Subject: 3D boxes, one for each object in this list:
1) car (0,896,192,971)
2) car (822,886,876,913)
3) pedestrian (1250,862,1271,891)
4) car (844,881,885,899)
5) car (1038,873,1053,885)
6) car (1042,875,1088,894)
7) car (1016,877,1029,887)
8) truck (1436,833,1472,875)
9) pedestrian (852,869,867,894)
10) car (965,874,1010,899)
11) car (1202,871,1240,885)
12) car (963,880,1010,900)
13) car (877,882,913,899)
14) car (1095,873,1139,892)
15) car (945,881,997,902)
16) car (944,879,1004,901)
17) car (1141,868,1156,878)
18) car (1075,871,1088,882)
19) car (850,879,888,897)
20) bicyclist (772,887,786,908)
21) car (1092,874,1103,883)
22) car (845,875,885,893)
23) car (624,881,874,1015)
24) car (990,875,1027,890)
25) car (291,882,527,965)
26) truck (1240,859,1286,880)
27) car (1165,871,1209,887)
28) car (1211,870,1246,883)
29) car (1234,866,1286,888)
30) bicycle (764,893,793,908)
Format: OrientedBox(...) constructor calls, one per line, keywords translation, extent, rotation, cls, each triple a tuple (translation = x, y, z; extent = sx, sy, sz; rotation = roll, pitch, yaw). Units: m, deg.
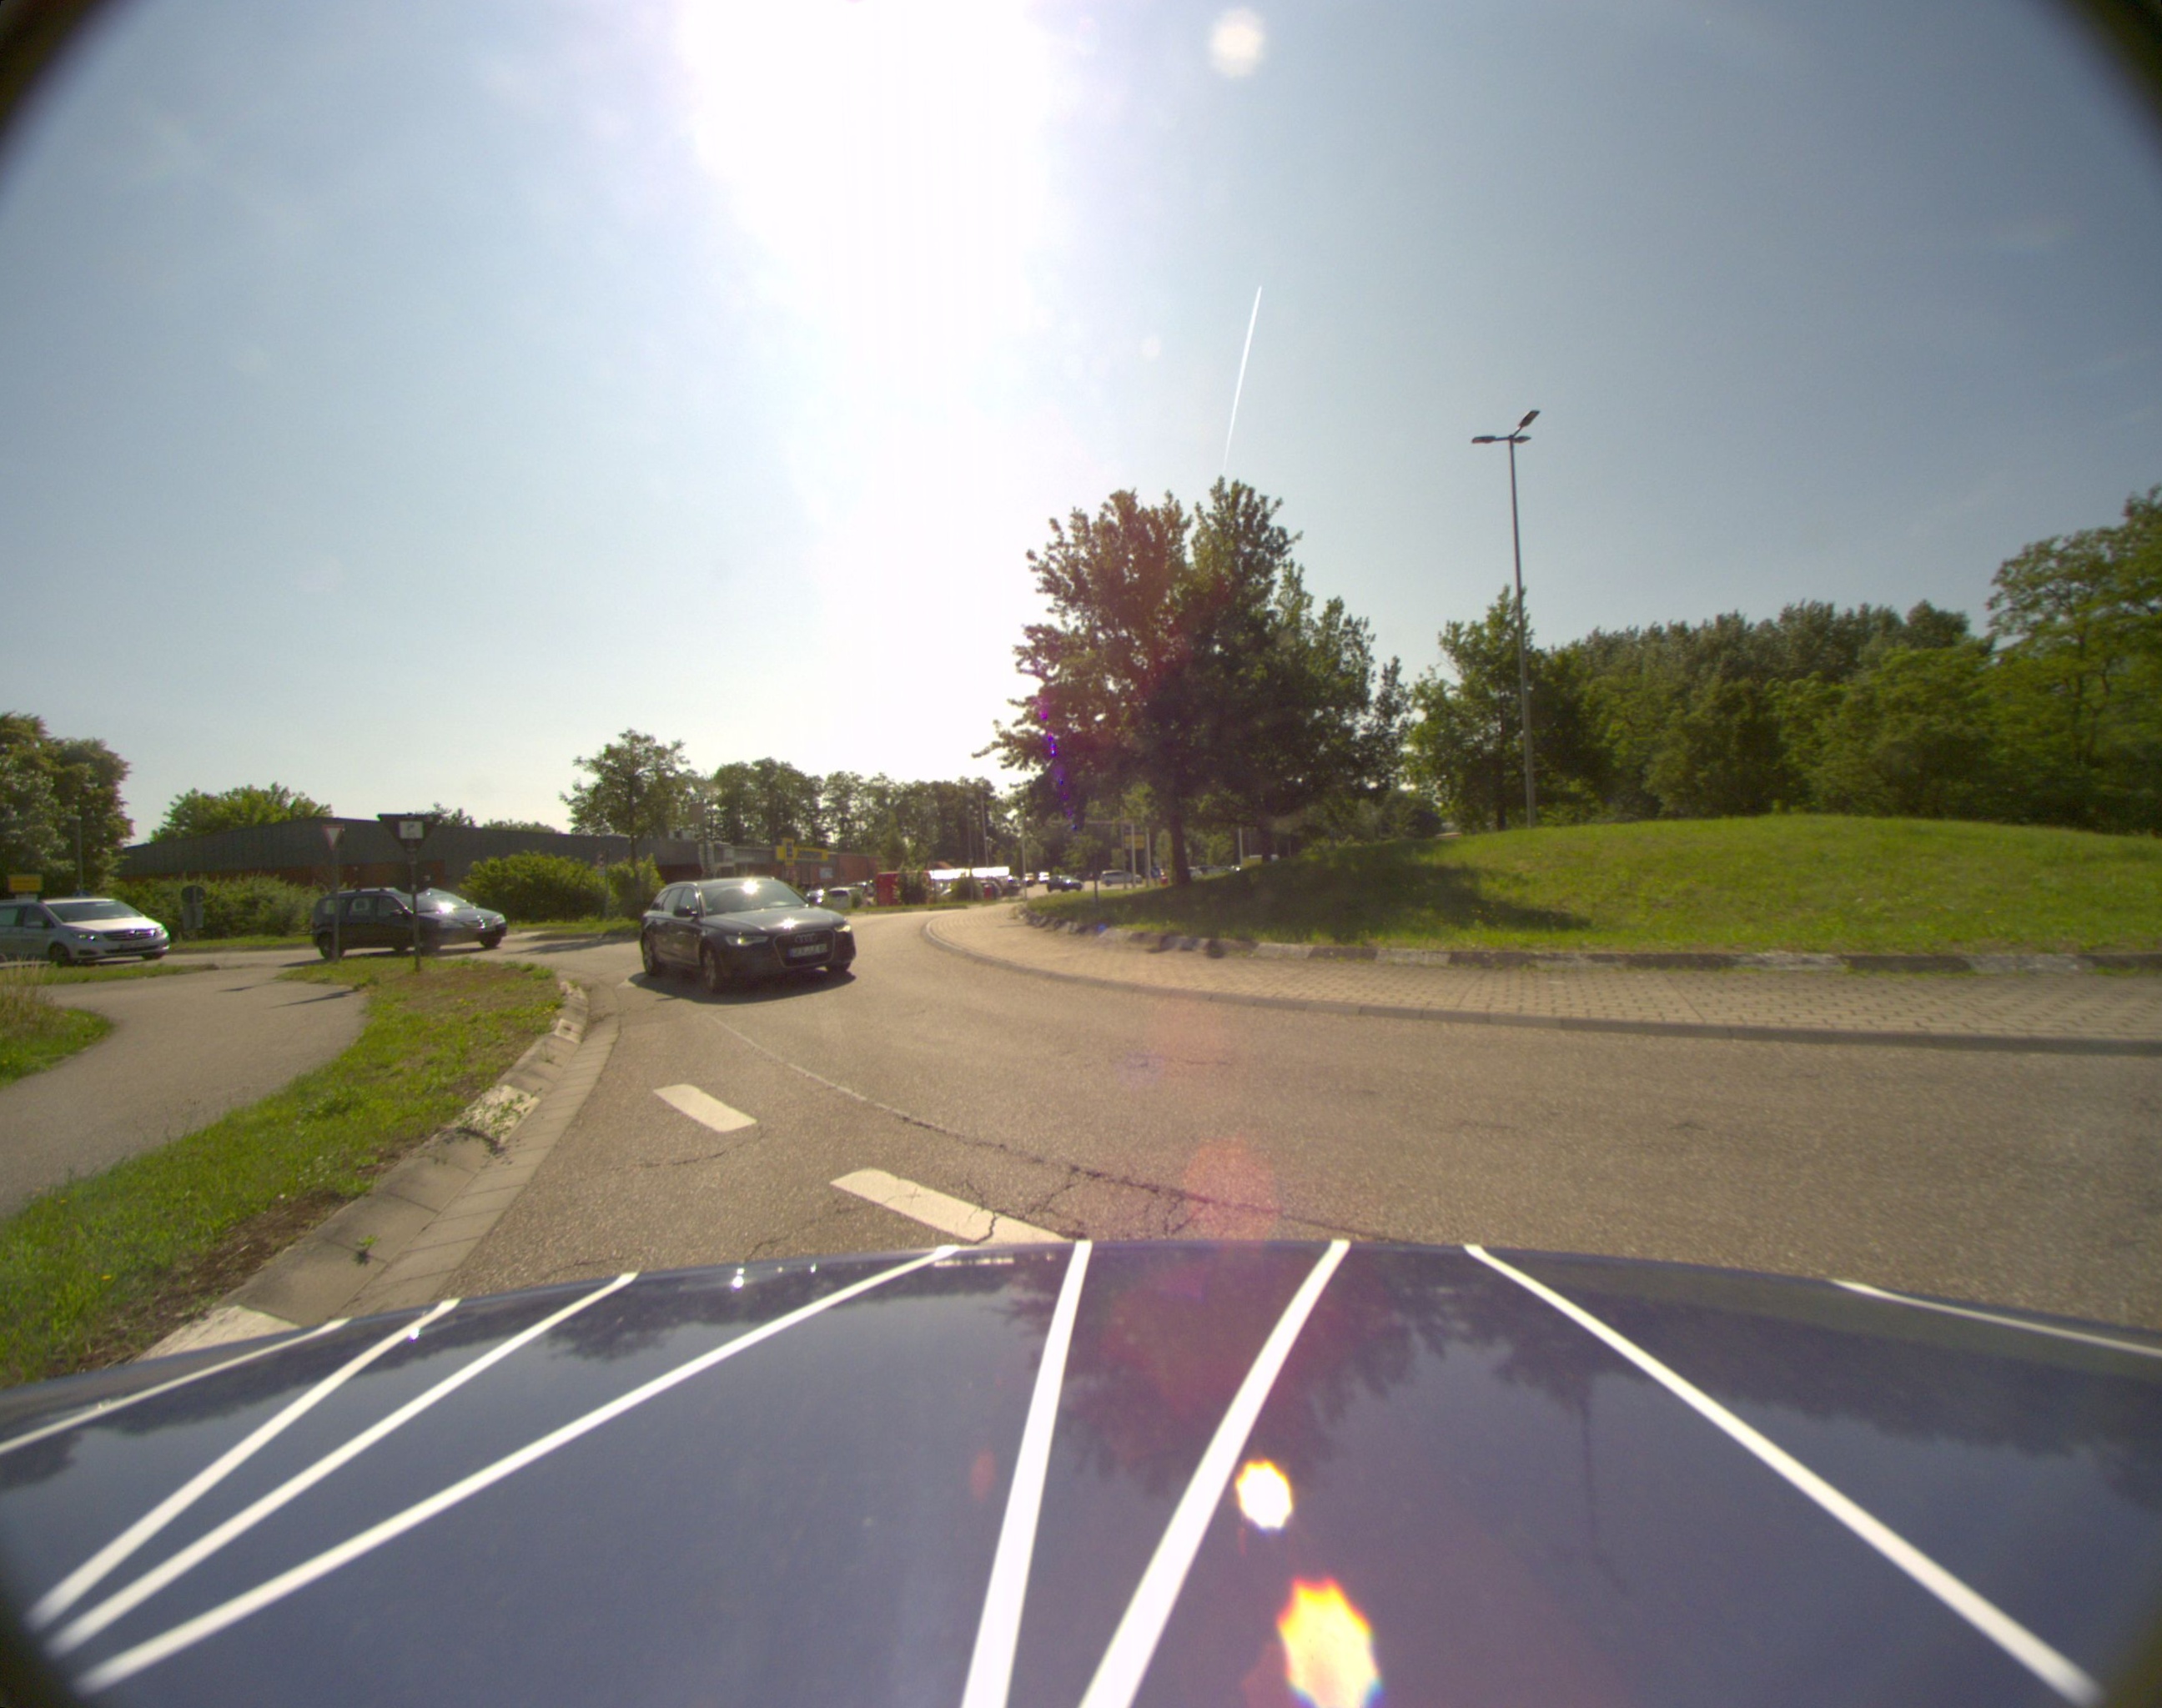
OrientedBox(translation=(-28.221, 2.212, 21.227), extent=(5.193, 1.804, 2.002), rotation=(-3, -1, 10), cls="car")
OrientedBox(translation=(-13.225, 2.598, 43.603), extent=(1.724, 1.437, 3.774), rotation=(-2, -3, 3), cls="car")
OrientedBox(translation=(11.479, 1.445, 48.643), extent=(0.844, 1.774, 0.879), rotation=(-2, -2, -29), cls="pedestrian")
OrientedBox(translation=(-24.270, 4.020, 85.220), extent=(3.998, 1.805, 1.999), rotation=(-2, 0, -4), cls="car")
OrientedBox(translation=(-5.762, 4.048, 123.873), extent=(2.070, 1.701, 4.001), rotation=(-2, -1, 1), cls="car")
OrientedBox(translation=(-1.556, 2.863, 71.607), extent=(3.990, 1.578, 1.665), rotation=(-4, -2, 30), cls="car")
OrientedBox(translation=(-9.554, 4.525, 124.033), extent=(1.795, 1.586, 4.261), rotation=(-2, -1, 0), cls="car")
OrientedBox(translation=(36.930, 0.035, 75.129), extent=(2.715, 3.891, 5.963), rotation=(-3, -2, 30), cls="truck")
OrientedBox(translation=(-16.512, 2.059, 56.672), extent=(0.840, 1.859, 0.774), rotation=(-3, -2, 1), cls="pedestrian")
OrientedBox(translation=(-8.089, 2.827, 65.976), extent=(3.488, 1.917, 1.880), rotation=(-3, -2, 7), cls="car")
OrientedBox(translation=(15.776, 2.738, 85.553), extent=(3.991, 1.418, 1.752), rotation=(-3, -2, 20), cls="car")
OrientedBox(translation=(-7.859, 2.972, 63.292), extent=(3.488, 1.488, 1.718), rotation=(-3, -2, 7), cls="car")
OrientedBox(translation=(-23.909, 4.722, 97.746), extent=(3.997, 2.001, 2.001), rotation=(-2, -1, 1), cls="car")
OrientedBox(translation=(3.888, 3.139, 82.845), extent=(4.557, 1.691, 2.001), rotation=(-5, -2, 0), cls="car")
OrientedBox(translation=(-8.357, 2.858, 57.944), extent=(3.488, 1.448, 1.718), rotation=(-3, -2, 7), cls="car")
OrientedBox(translation=(-8.463, 2.855, 60.410), extent=(4.423, 1.561, 1.717), rotation=(-3, -2, 4), cls="car")
OrientedBox(translation=(11.057, 3.143, 124.779), extent=(2.070, 1.477, 4.001), rotation=(-2, -1, 1), cls="car")
OrientedBox(translation=(0.074, 3.622, 124.164), extent=(2.070, 1.701, 4.001), rotation=(-2, -1, 1), cls="car")
OrientedBox(translation=(-25.142, 4.022, 90.144), extent=(3.998, 1.805, 1.999), rotation=(-2, 0, -4), cls="car")
OrientedBox(translation=(-22.250, 3.180, 55.909), extent=(0.676, 1.505, 0.608), rotation=(-3, -1, 18), cls="bicyclist")
OrientedBox(translation=(2.645, 4.012, 124.225), extent=(1.661, 1.477, 4.374), rotation=(-2, -1, 1), cls="car")
OrientedBox(translation=(-24.938, 3.456, 87.798), extent=(3.998, 1.805, 1.999), rotation=(-2, 0, -4), cls="car")
OrientedBox(translation=(-5.163, 1.189, 11.387), extent=(1.927, 1.426, 4.899), rotation=(-4, 1, -42), cls="car")
OrientedBox(translation=(-8.677, 3.401, 90.646), extent=(3.995, 1.651, 2.002), rotation=(-3, -2, 6), cls="car")
OrientedBox(translation=(-16.391, 1.687, 18.605), extent=(4.648, 1.631, 1.817), rotation=(-3, 2, 12), cls="car")
OrientedBox(translation=(24.560, 2.045, 102.548), extent=(5.604, 2.589, 2.207), rotation=(-3, -1, 26), cls="truck")
OrientedBox(translation=(10.683, 2.507, 76.337), extent=(3.990, 1.433, 1.654), rotation=(-3, -2, 26), cls="car")
OrientedBox(translation=(18.154, 2.741, 93.505), extent=(3.967, 1.444, 1.907), rotation=(-3, -2, 17), cls="car")
OrientedBox(translation=(13.854, 1.762, 58.676), extent=(3.597, 1.552, 1.817), rotation=(-2, -2, 23), cls="car")
OrientedBox(translation=(-22.268, 3.419, 55.868), extent=(2.072, 1.035, 0.554), rotation=(-3, -2, 18), cls="bicycle")
